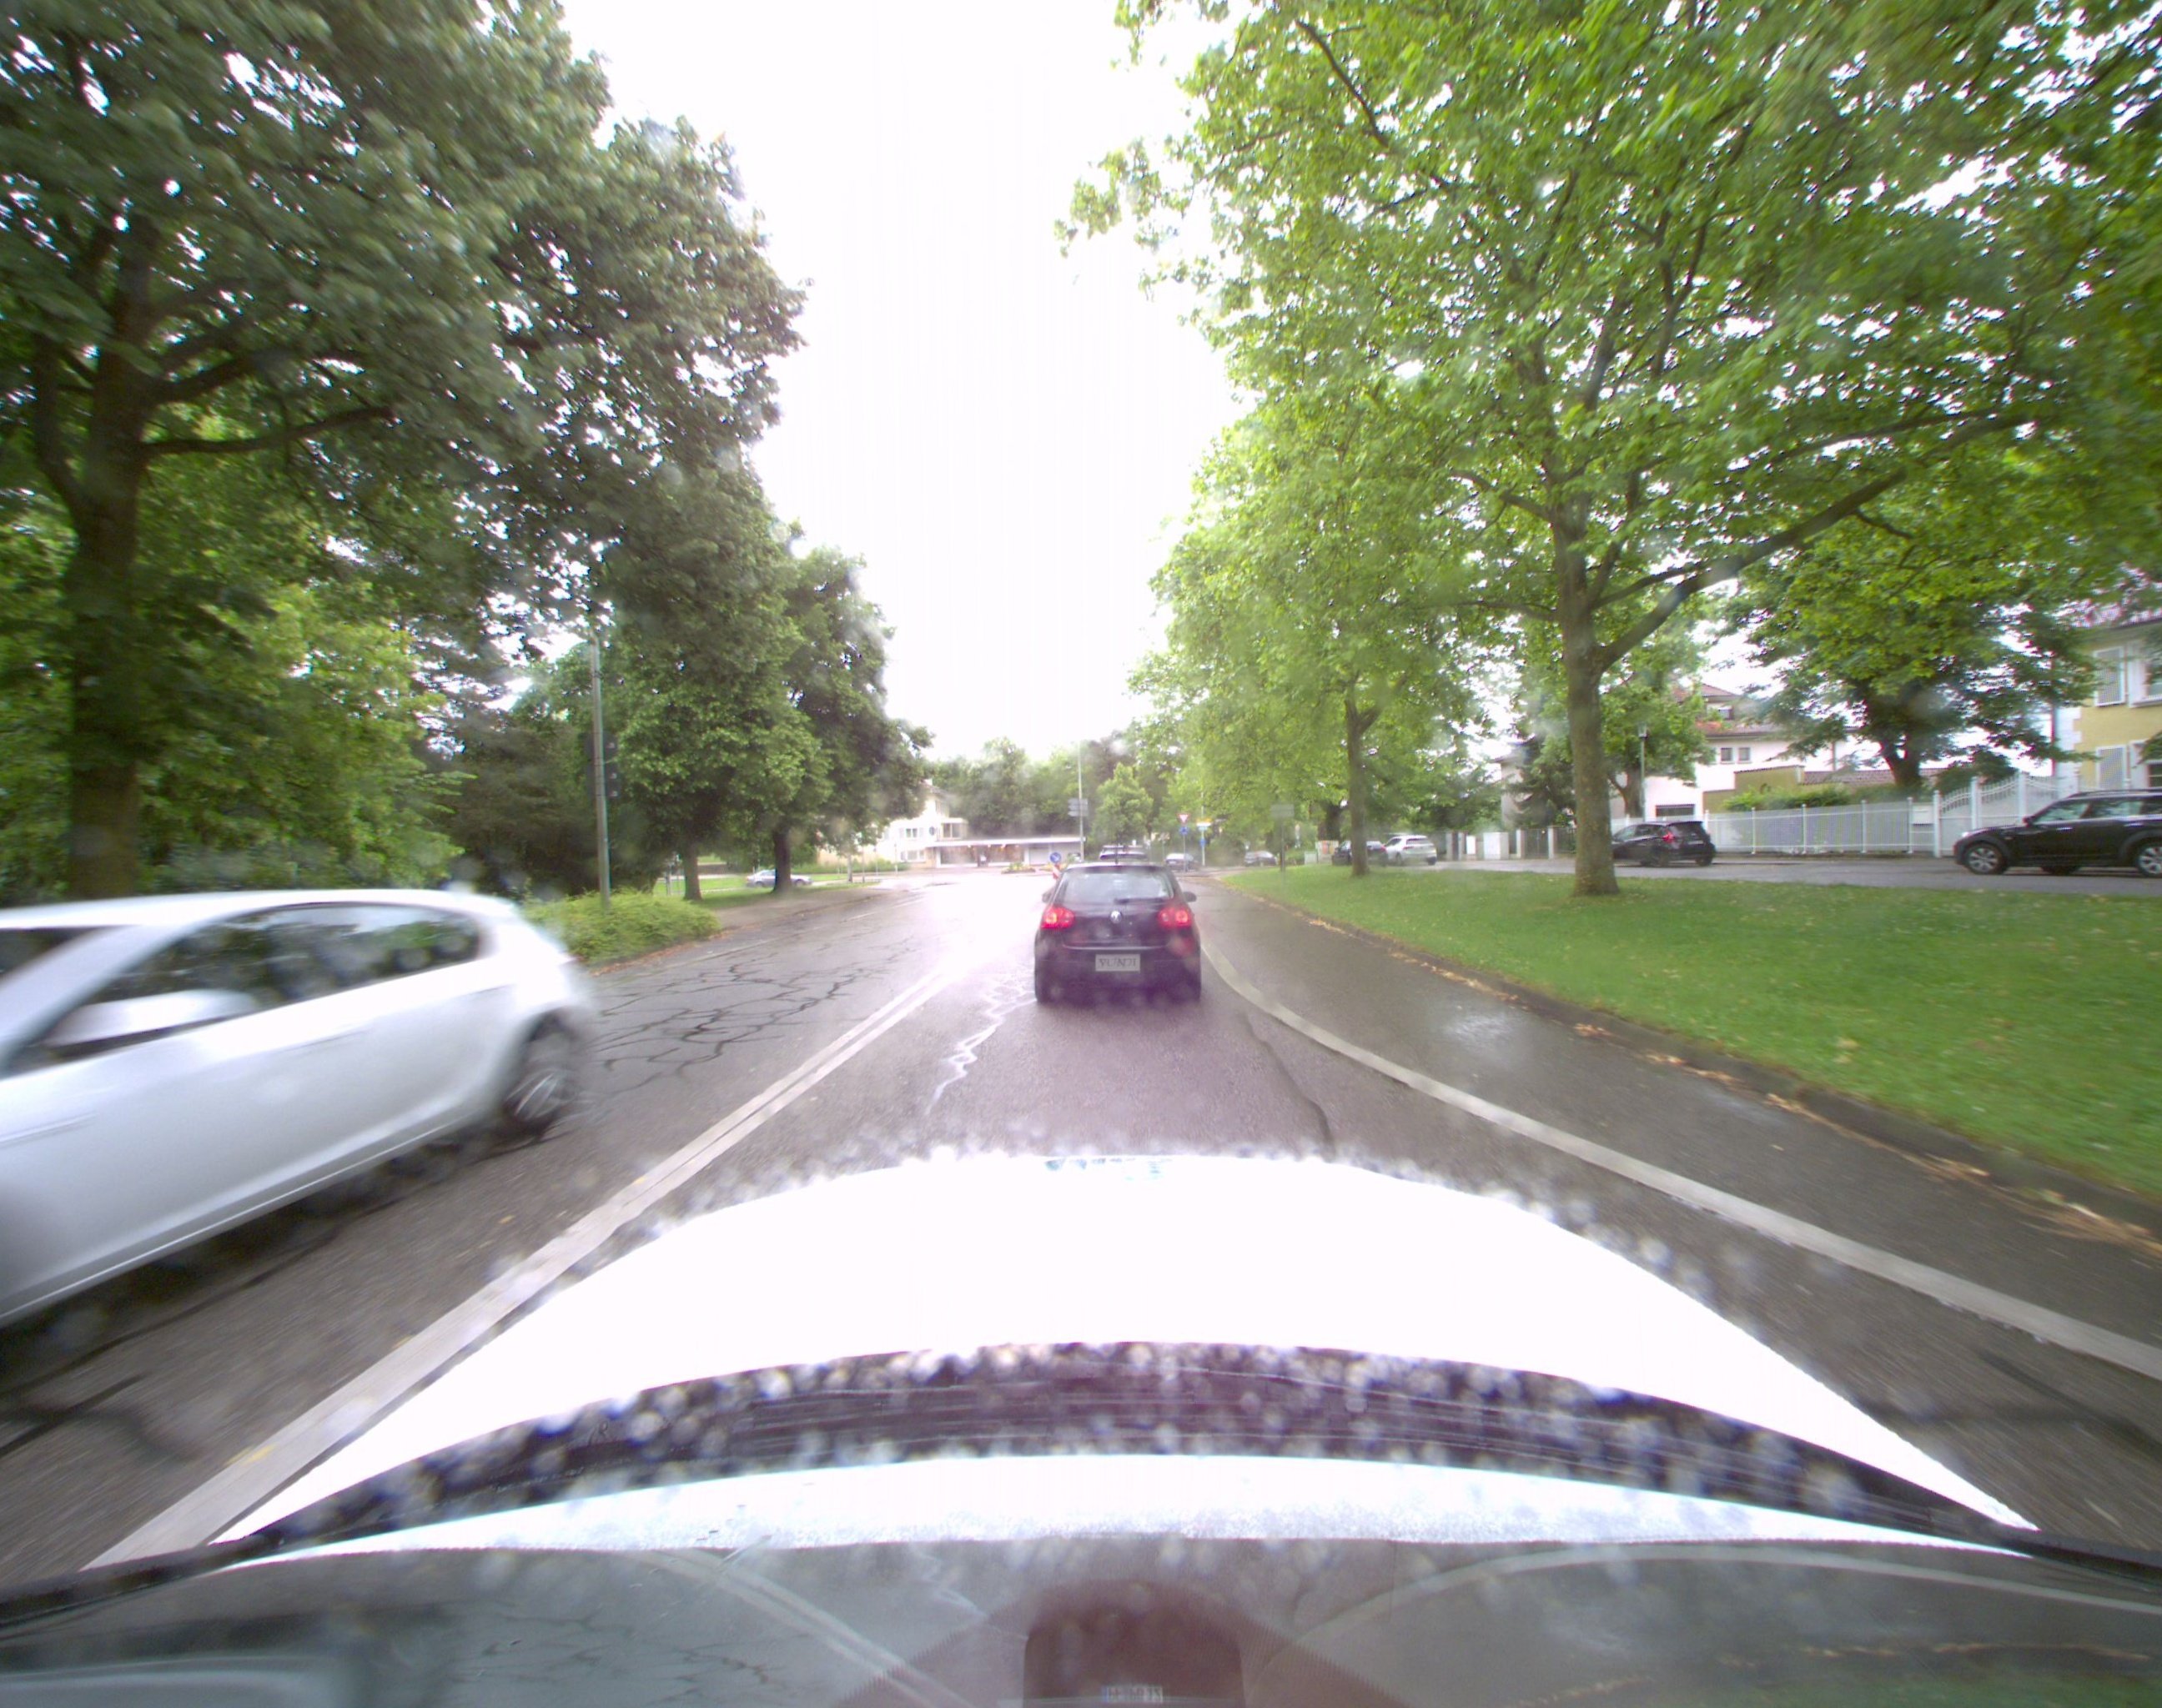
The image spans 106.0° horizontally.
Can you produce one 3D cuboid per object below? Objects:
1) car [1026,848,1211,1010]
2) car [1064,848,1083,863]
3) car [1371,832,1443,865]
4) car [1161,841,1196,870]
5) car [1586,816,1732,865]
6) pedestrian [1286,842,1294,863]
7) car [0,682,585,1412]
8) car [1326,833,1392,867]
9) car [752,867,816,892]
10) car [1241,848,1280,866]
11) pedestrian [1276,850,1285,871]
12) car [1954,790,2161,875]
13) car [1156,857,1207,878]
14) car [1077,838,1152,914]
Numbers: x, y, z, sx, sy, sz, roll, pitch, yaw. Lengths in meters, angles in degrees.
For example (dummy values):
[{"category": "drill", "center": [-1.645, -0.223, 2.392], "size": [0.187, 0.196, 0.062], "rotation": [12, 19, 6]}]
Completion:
[{"category": "car", "center": [0.413, 0.730, 9.770], "size": [1.758, 1.538, 4.001], "rotation": [0, 0, 1]}, {"category": "car", "center": [-0.856, 0.181, 89.597], "size": [1.809, 1.486, 3.825], "rotation": [-3, 0, -4]}, {"category": "car", "center": [16.260, -0.264, 40.866], "size": [1.839, 1.471, 4.426], "rotation": [-3, 0, 1]}, {"category": "car", "center": [6.220, 0.103, 52.104], "size": [1.985, 1.741, 4.147], "rotation": [0, 0, 3]}, {"category": "car", "center": [19.385, -0.412, 27.598], "size": [1.755, 1.471, 4.354], "rotation": [-2, 0, -2]}, {"category": "pedestrian", "center": [17.181, -0.102, 67.004], "size": [0.628, 1.713, 0.532], "rotation": [-1, -1, 19]}, {"category": "car", "center": [-3.996, 0.572, 2.539], "size": [1.987, 2.013, 4.573], "rotation": [-3, 0, 0]}, {"category": "car", "center": [13.803, -0.173, 40.670], "size": [1.758, 1.471, 4.599], "rotation": [-4, -1, 1]}, {"category": "car", "center": [-21.192, 1.798, 58.181], "size": [4.023, 1.684, 1.992], "rotation": [0, 0, -12]}, {"category": "car", "center": [15.979, 0.289, 72.391], "size": [1.974, 1.530, 4.025], "rotation": [-1, -1, 37]}, {"category": "pedestrian", "center": [16.253, 0.528, 66.408], "size": [0.528, 1.713, 0.633], "rotation": [0, -1, -12]}, {"category": "car", "center": [19.548, -0.368, 15.230], "size": [1.988, 1.471, 4.122], "rotation": [0, 0, -2]}, {"category": "car", "center": [7.420, 0.963, 60.007], "size": [1.974, 1.530, 4.025], "rotation": [-1, -1, 37]}, {"category": "car", "center": [0.893, 0.559, 22.175], "size": [1.758, 1.801, 4.247], "rotation": [-3, -1, 1]}]
